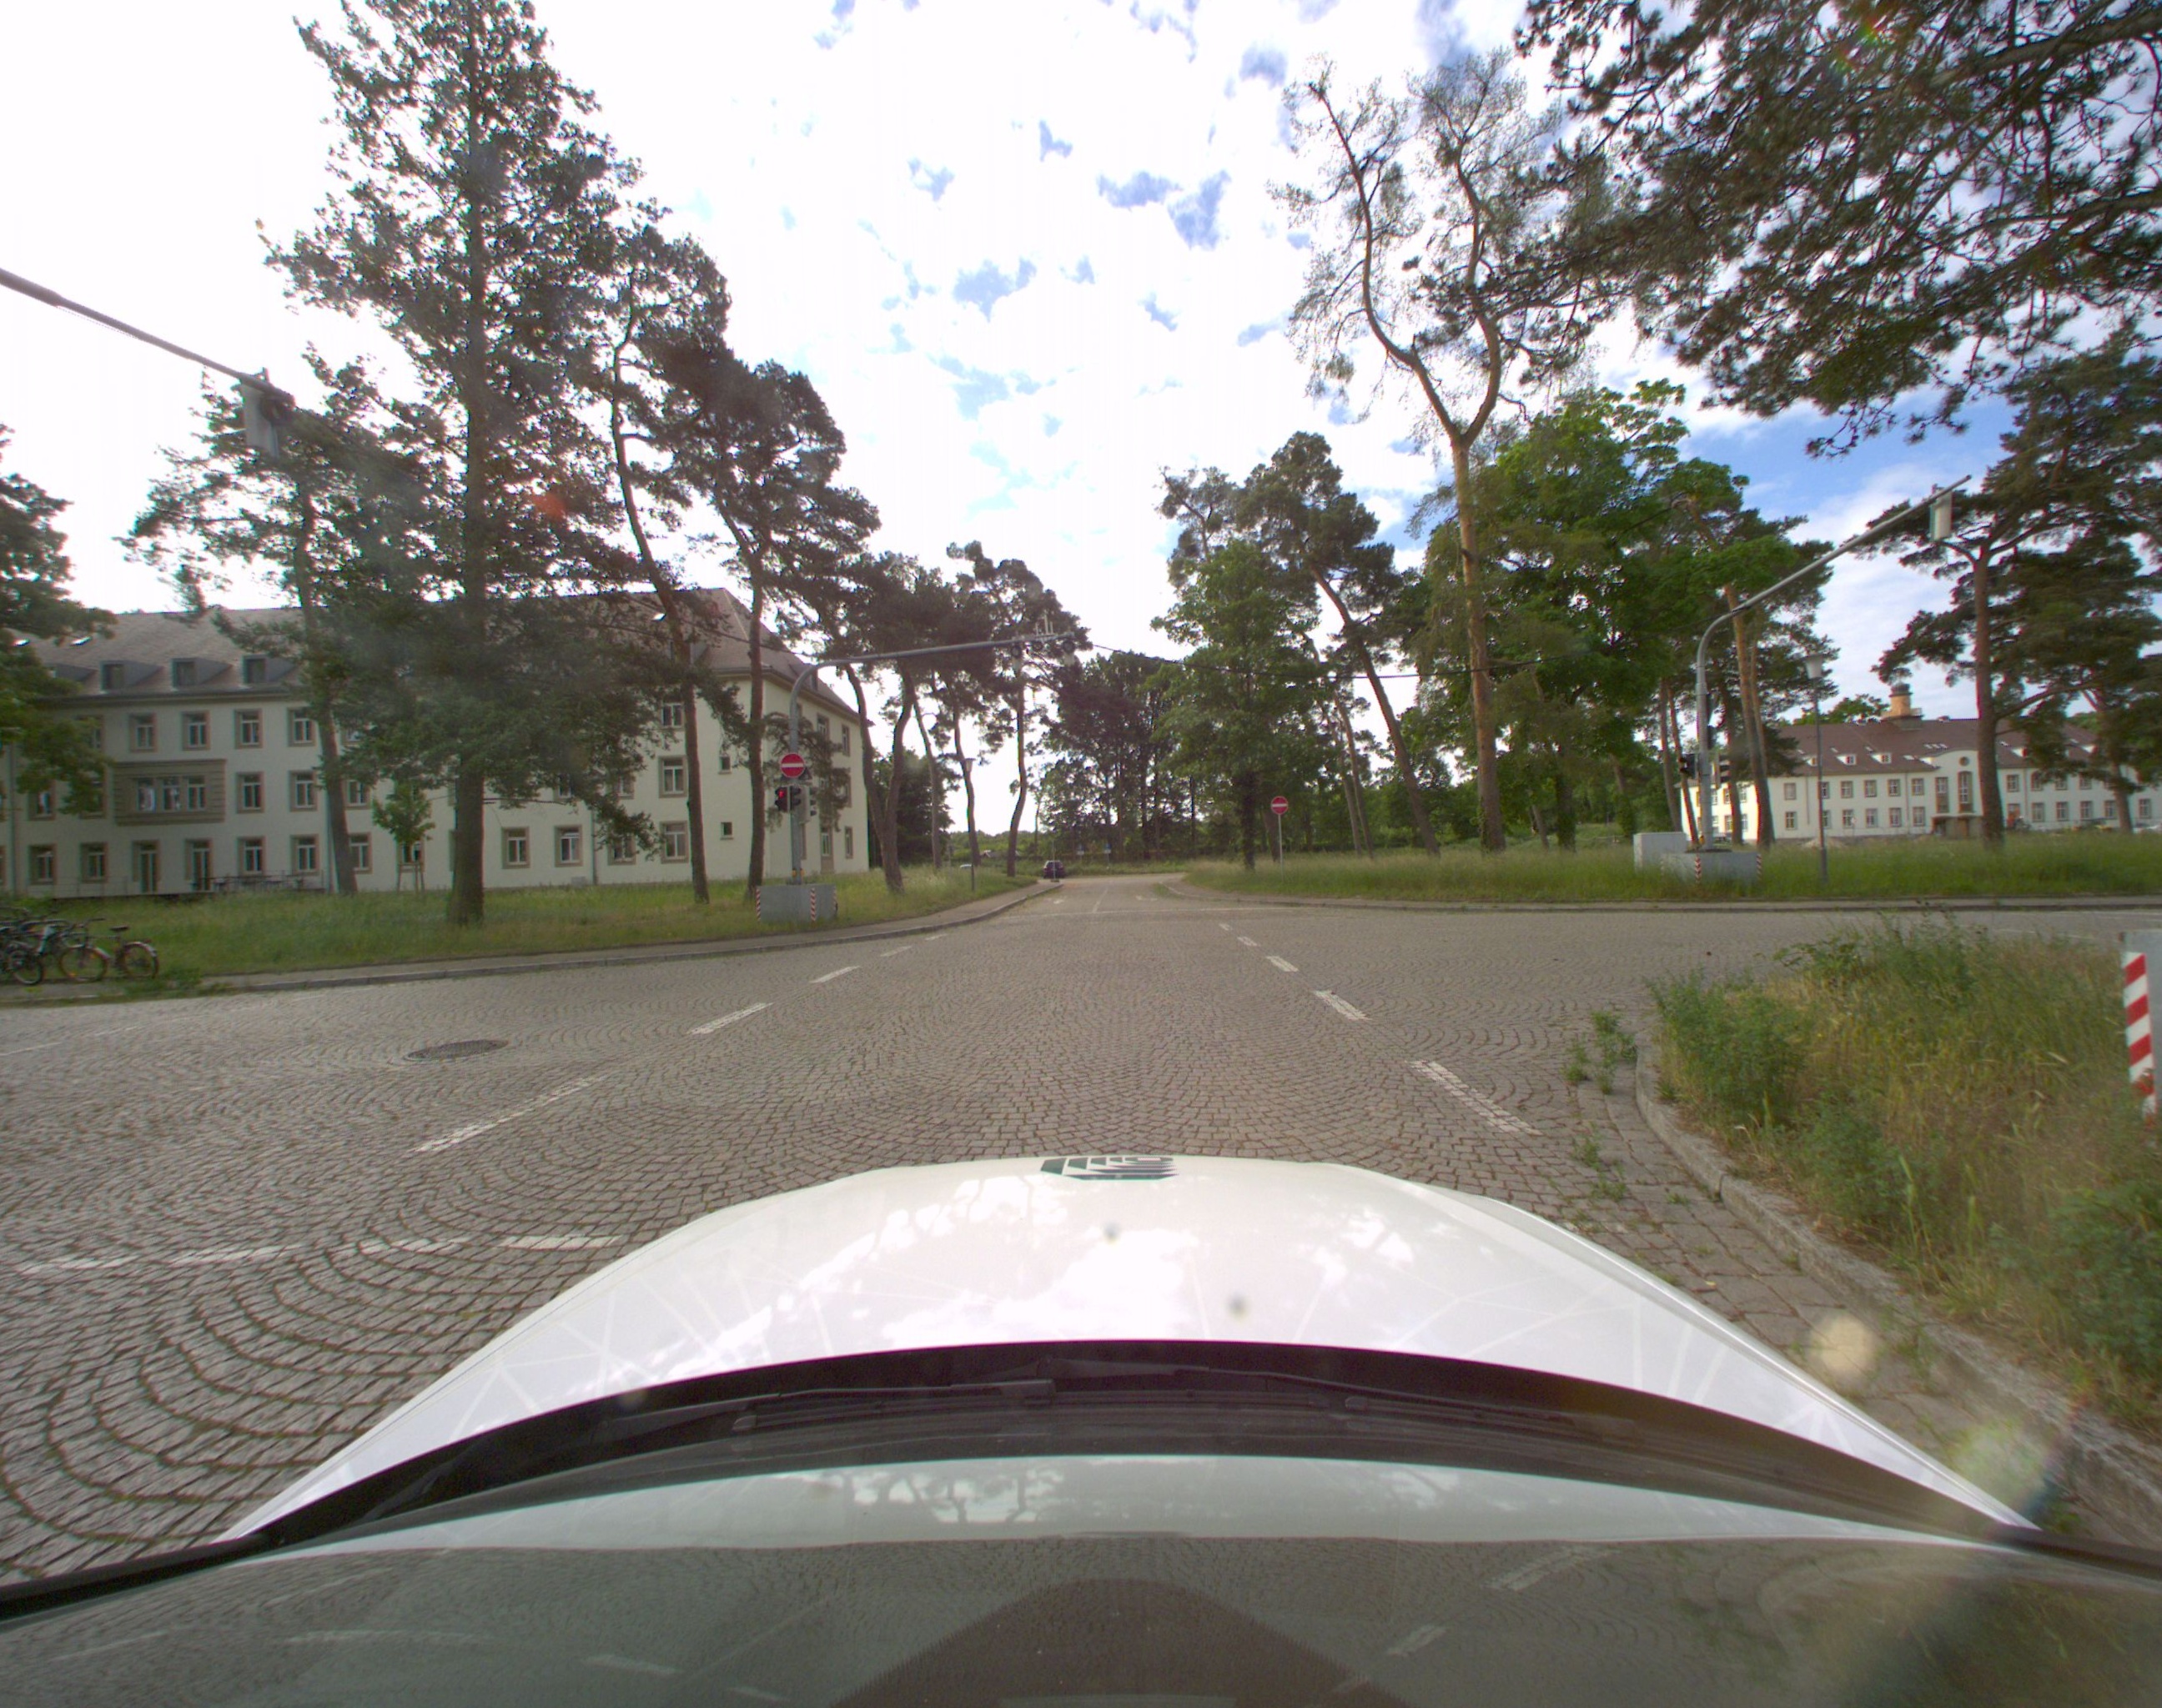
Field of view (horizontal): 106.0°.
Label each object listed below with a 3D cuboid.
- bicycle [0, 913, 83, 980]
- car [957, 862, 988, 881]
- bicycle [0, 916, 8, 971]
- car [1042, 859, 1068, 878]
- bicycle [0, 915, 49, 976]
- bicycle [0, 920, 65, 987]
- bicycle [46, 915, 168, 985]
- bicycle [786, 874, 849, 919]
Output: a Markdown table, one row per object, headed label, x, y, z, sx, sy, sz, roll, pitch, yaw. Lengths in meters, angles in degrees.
| label | x | y | z | sx | sy | sz | roll | pitch | yaw |
| --- | --- | --- | --- | --- | --- | --- | --- | --- | --- |
| bicycle | -19.372 | 1.690 | 14.876 | 0.495 | 1.038 | 1.455 | -2 | 2 | -4 |
| car | -9.540 | 1.519 | 71.603 | 1.702 | 1.610 | 4.066 | 0 | 0 | 7 |
| bicycle | -21.176 | 1.772 | 15.126 | 0.495 | 1.038 | 1.456 | -2 | 2 | -2 |
| car | -2.238 | 1.237 | 70.645 | 1.703 | 1.610 | 4.064 | 0 | 0 | 5 |
| bicycle | -20.157 | 1.732 | 14.964 | 0.495 | 1.038 | 1.456 | -2 | 2 | -2 |
| bicycle | -18.056 | 1.674 | 13.641 | 1.406 | 1.038 | 0.498 | -2 | 2 | 1 |
| bicycle | -16.455 | 1.623 | 13.776 | 1.406 | 1.074 | 0.498 | -2 | 2 | 1 |
| bicycle | -6.804 | 1.101 | 21.051 | 1.407 | 1.074 | 0.498 | -2 | 2 | -1 |
